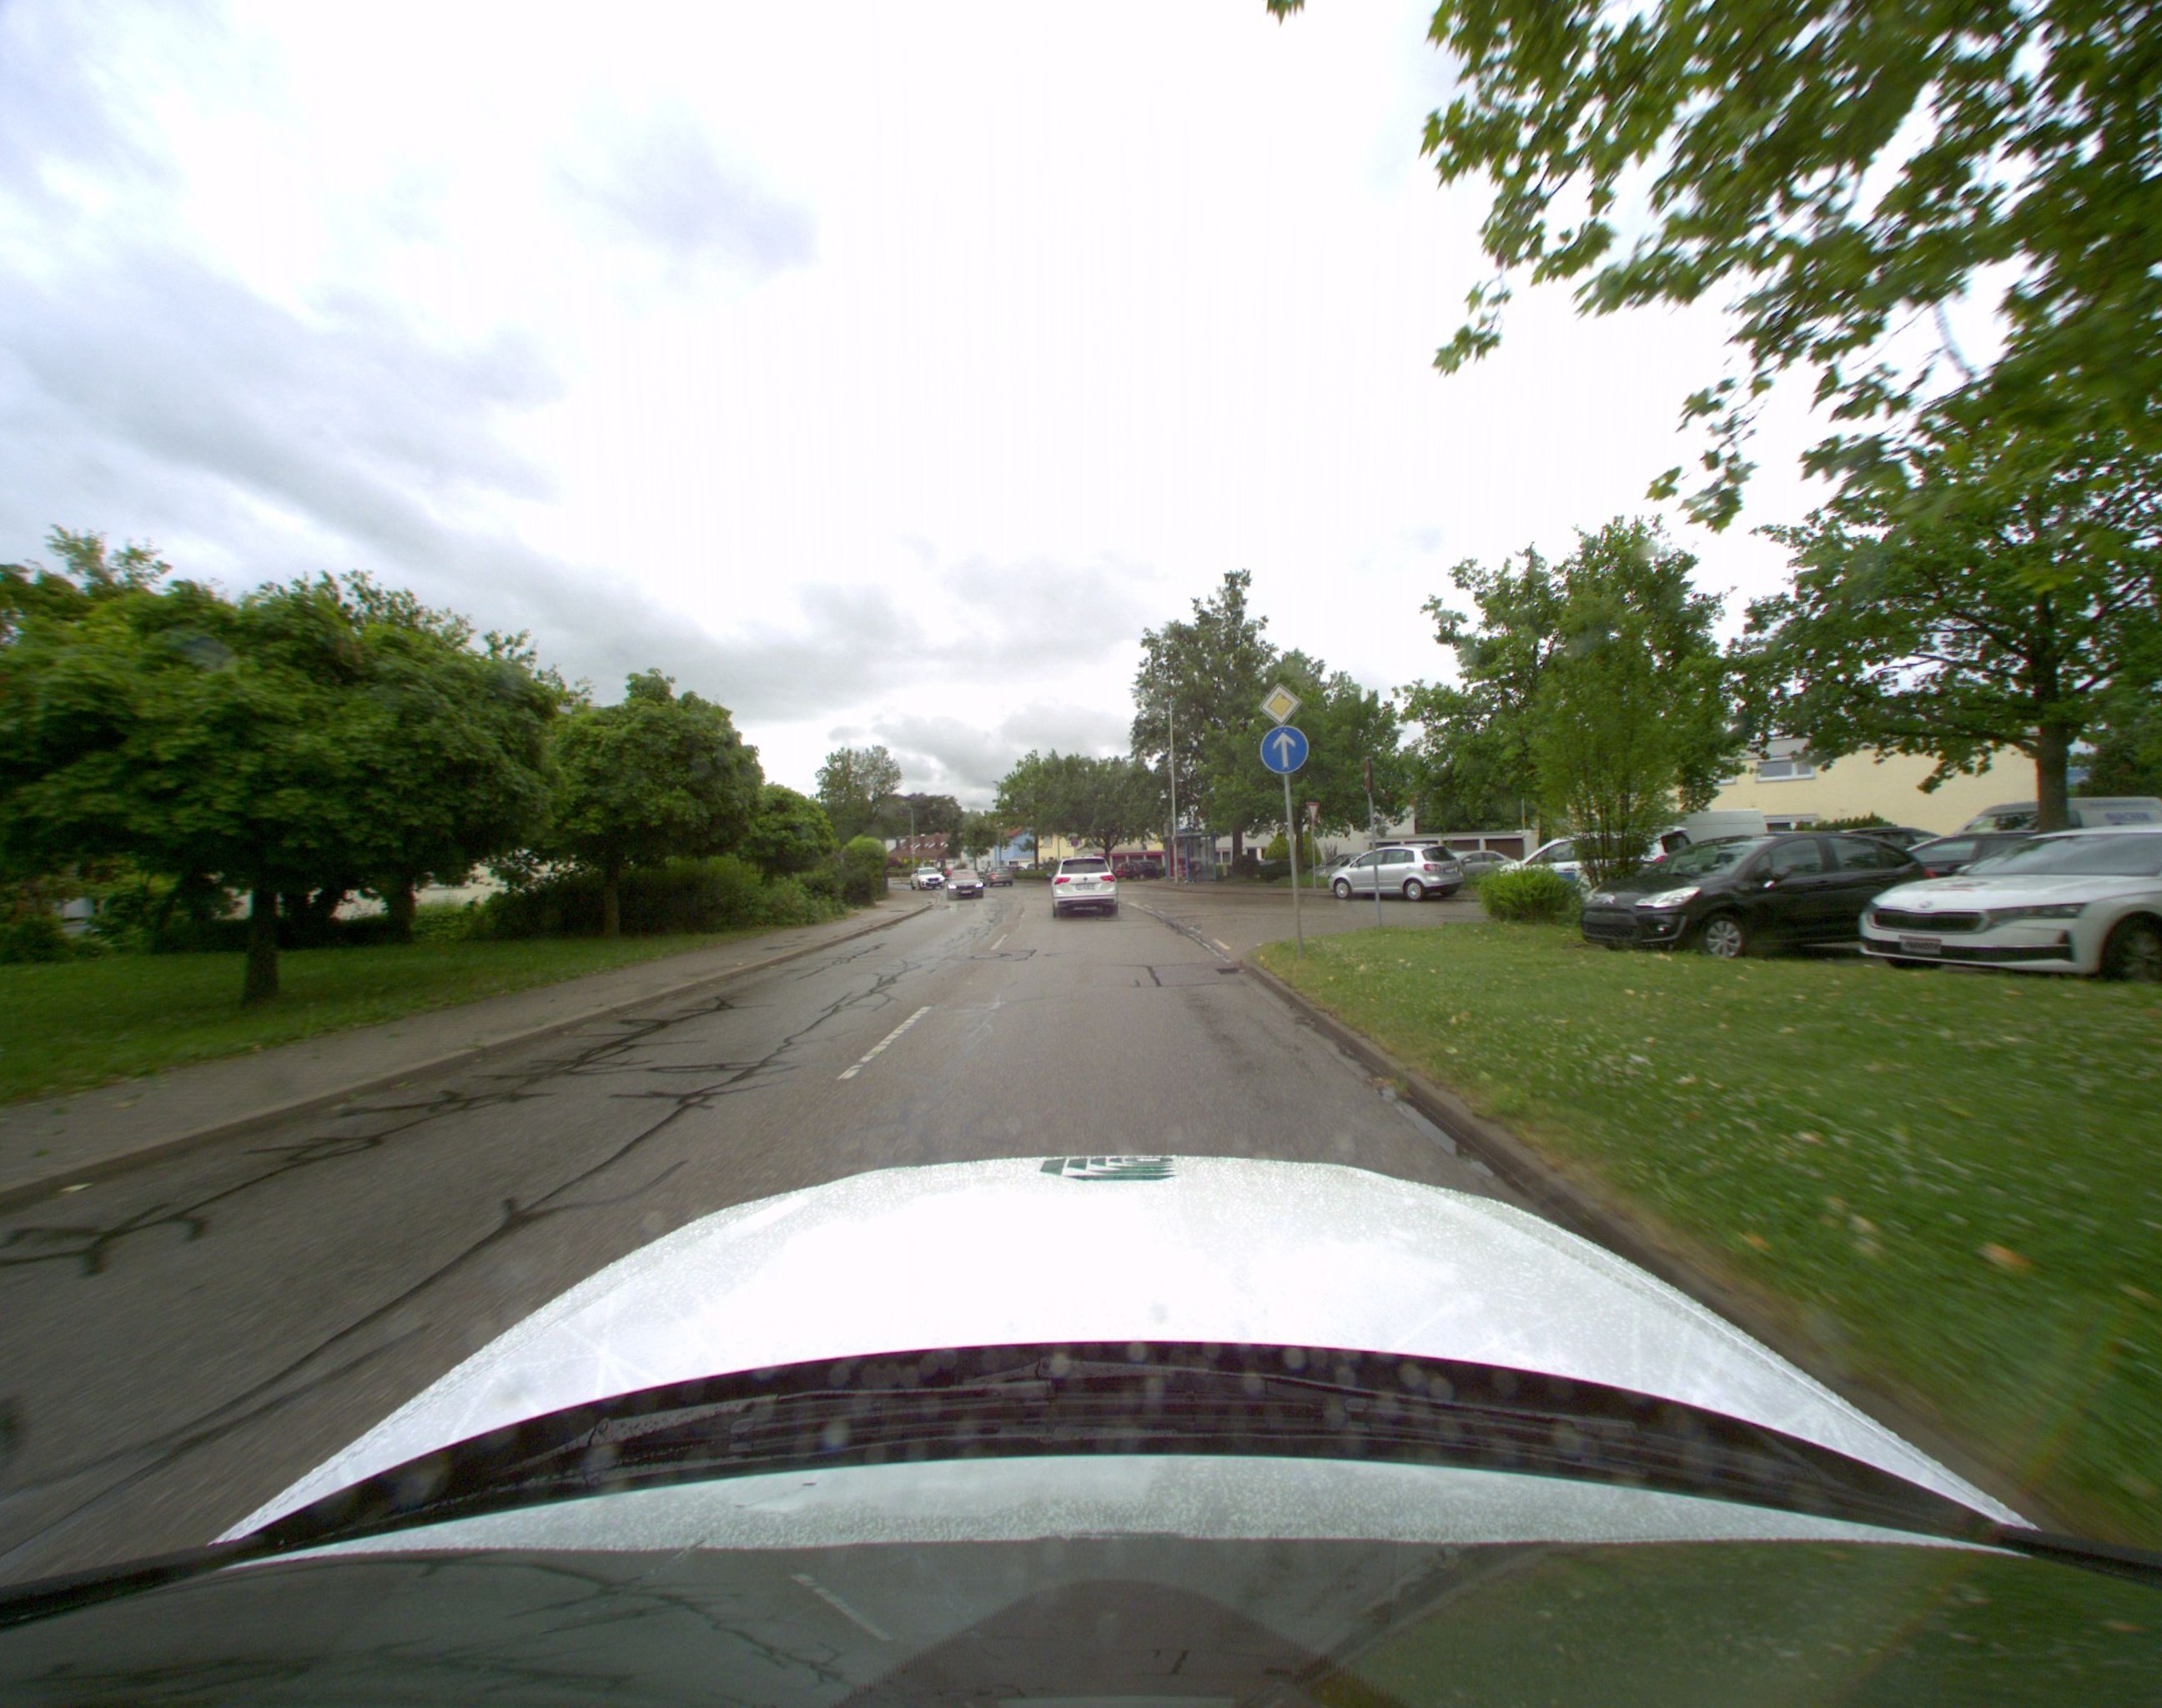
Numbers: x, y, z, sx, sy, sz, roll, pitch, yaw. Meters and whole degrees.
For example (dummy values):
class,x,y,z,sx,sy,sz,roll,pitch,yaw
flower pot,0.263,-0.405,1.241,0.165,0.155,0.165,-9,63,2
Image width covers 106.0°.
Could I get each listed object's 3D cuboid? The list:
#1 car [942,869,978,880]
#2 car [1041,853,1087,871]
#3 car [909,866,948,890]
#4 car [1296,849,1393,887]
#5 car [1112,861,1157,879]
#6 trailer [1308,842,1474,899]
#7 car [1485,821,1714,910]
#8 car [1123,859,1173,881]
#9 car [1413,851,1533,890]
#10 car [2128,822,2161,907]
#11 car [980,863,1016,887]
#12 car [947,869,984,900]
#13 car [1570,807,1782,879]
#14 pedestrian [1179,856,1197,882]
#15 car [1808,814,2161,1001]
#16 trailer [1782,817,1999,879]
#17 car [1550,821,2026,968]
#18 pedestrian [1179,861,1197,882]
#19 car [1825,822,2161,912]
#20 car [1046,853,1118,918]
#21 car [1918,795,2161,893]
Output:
class,x,y,z,sx,sy,sz,roll,pitch,yaw
car,-15.284,2.601,102.993,4.342,1.261,1.658,0,-1,-44
car,-1.718,0.799,81.561,4.209,1.671,1.971,-2,-1,-33
car,-11.680,1.772,62.120,1.898,1.611,4.830,-4,1,-22
car,11.561,0.618,35.830,3.646,1.486,1.754,-2,-1,-10
car,4.733,1.441,72.180,3.720,1.442,1.688,-2,-1,-35
trailer,9.325,0.513,24.844,2.008,1.543,4.380,-2,-1,-33
car,12.362,0.282,19.698,2.006,1.881,4.172,-2,-1,-29
car,5.738,1.342,69.648,4.017,1.721,1.903,-2,-1,-35
car,15.001,0.615,31.213,4.039,1.337,1.724,-2,-1,-17
car,24.660,0.132,16.876,3.885,1.774,1.821,-3,-1,-6
car,-6.004,1.501,58.660,1.774,1.551,3.975,-2,-1,-18
car,-5.970,1.514,41.680,1.741,1.414,4.128,-2,-1,-10
car,19.148,-0.346,26.282,5.820,2.014,1.993,-3,-1,-10
pedestrian,5.390,0.758,41.061,0.726,1.250,0.550,-2,-1,-8
car,9.786,0.364,7.632,4.565,1.443,1.761,-3,-1,-5
trailer,21.364,-0.132,21.606,3.972,1.437,1.713,-2,-1,1
car,8.591,0.447,10.131,4.565,1.443,1.761,-3,-1,-5
pedestrian,5.491,0.893,41.909,0.748,1.011,0.550,-2,-1,-8
car,16.310,0.228,14.539,1.773,1.383,4.142,-1,-1,-34
car,0.093,0.847,23.781,1.858,1.651,4.001,-3,-1,1
car,22.948,-0.242,19.166,4.744,2.014,1.996,-3,-1,-6
